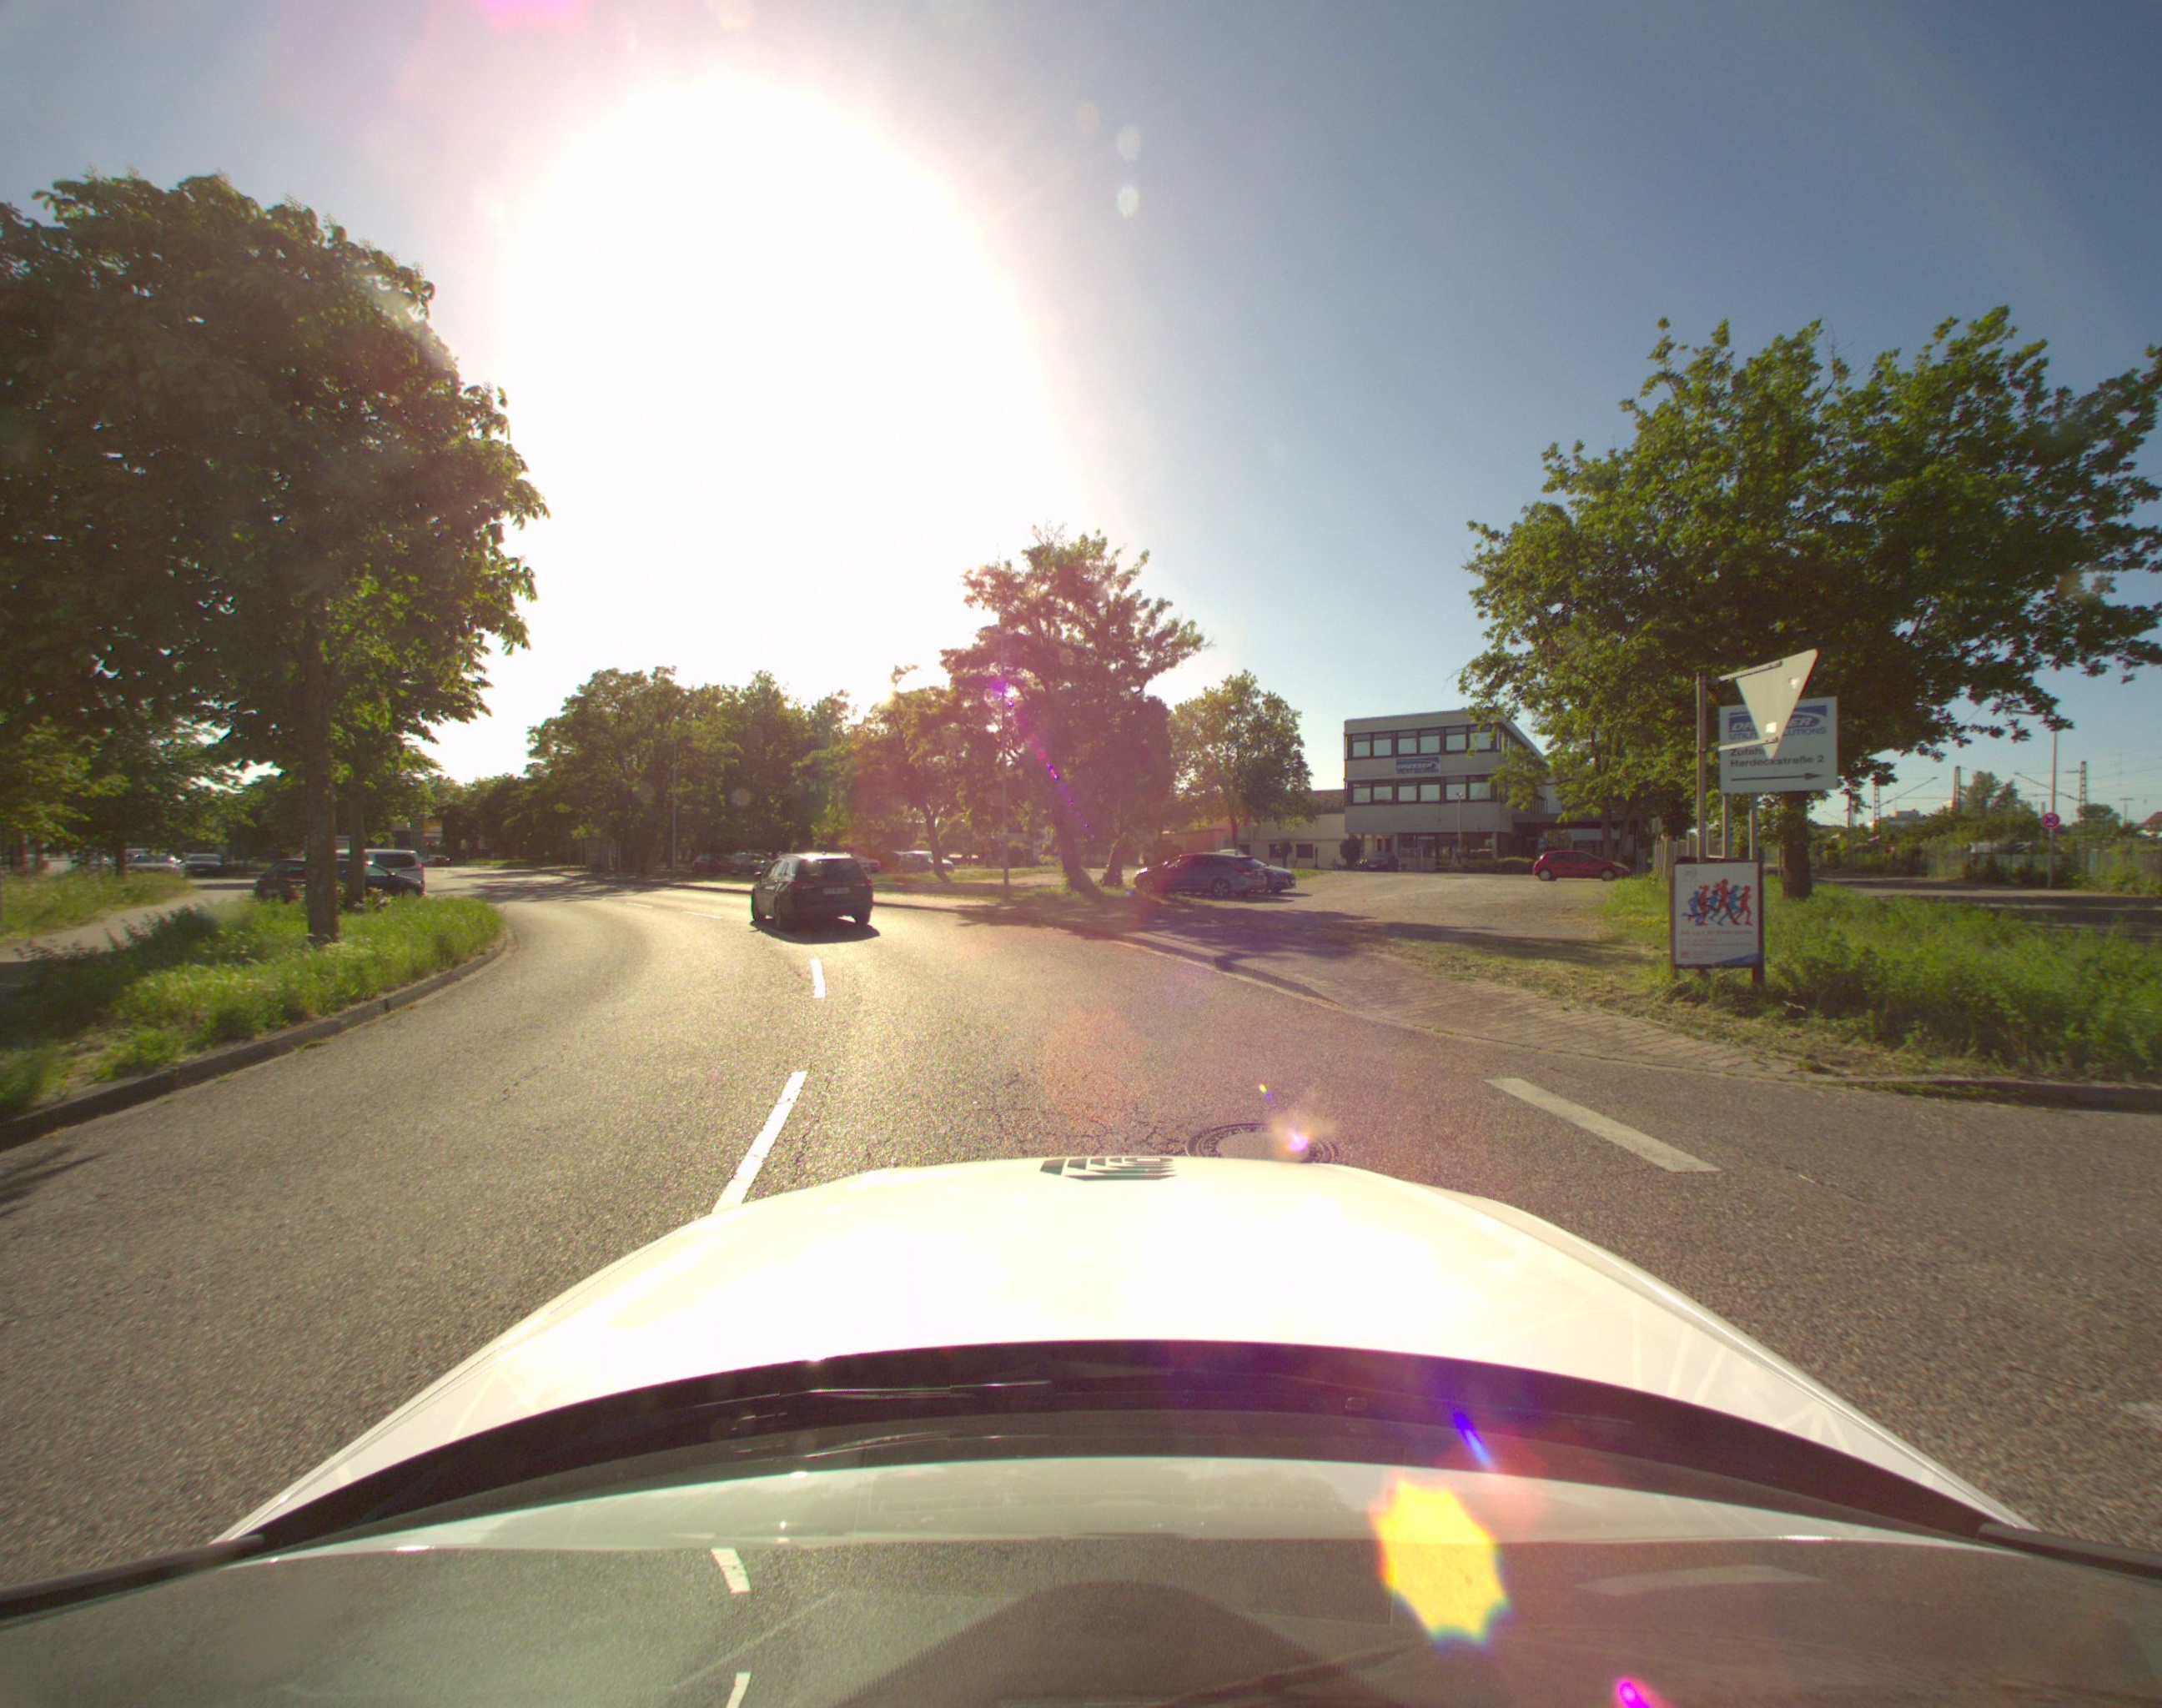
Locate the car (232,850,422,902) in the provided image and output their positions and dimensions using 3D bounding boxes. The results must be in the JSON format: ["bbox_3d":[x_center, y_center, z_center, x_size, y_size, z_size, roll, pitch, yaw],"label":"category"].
[{"bbox_3d":[-25.572,0.683,27.844,1.819,1.610,4.425,0,0,18],"label":"car"}]

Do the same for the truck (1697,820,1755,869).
[{"bbox_3d":[55.885,-0.836,70.865,2.588,3.885,13.618,1,1,33],"label":"truck"}]

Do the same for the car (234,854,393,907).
[{"bbox_3d":[-23.472,0.748,25.150,1.839,1.436,4.377,0,0,-18],"label":"car"}]

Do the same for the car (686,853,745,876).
[{"bbox_3d":[-24.557,0.683,54.608,2.012,1.484,4.866,-1,1,-45],"label":"car"}]

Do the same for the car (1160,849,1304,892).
[{"bbox_3d":[5.560,0.570,30.271,4.863,1.484,2.013,0,0,34],"label":"car"}]

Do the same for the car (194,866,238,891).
[{"bbox_3d":[-55.932,1.550,52.710,4.349,1.436,1.851,0,1,44],"label":"car"}]

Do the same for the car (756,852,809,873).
[{"bbox_3d":[-22.691,0.607,61.813,2.012,1.484,4.866,-1,1,-45],"label":"car"}]

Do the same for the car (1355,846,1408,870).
[{"bbox_3d":[20.459,0.252,55.343,1.974,1.484,4.958,0,2,37],"label":"car"}]

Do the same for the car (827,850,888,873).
[{"bbox_3d":[-15.752,0.498,57.320,2.012,1.484,4.866,-1,1,-45],"label":"car"}]

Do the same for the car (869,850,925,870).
[{"bbox_3d":[-14.455,0.418,63.730,2.012,1.484,4.866,-1,1,-45],"label":"car"}]

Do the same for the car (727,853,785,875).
[{"bbox_3d":[-22.801,0.679,56.994,2.012,1.484,4.866,-1,1,-45],"label":"car"}]

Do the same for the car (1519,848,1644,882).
[{"bbox_3d":[23.853,0.473,38.901,4.863,1.484,2.013,0,2,39],"label":"car"}]

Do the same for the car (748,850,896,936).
[{"bbox_3d":[-5.553,0.681,17.058,1.955,1.488,4.520,-2,1,-31],"label":"car"}]

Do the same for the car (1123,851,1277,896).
[{"bbox_3d":[4.073,0.619,28.114,4.863,1.426,2.013,0,0,34],"label":"car"}]

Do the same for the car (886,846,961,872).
[{"bbox_3d":[-9.395,0.283,48.346,2.012,1.484,4.866,-1,1,-45],"label":"car"}]
